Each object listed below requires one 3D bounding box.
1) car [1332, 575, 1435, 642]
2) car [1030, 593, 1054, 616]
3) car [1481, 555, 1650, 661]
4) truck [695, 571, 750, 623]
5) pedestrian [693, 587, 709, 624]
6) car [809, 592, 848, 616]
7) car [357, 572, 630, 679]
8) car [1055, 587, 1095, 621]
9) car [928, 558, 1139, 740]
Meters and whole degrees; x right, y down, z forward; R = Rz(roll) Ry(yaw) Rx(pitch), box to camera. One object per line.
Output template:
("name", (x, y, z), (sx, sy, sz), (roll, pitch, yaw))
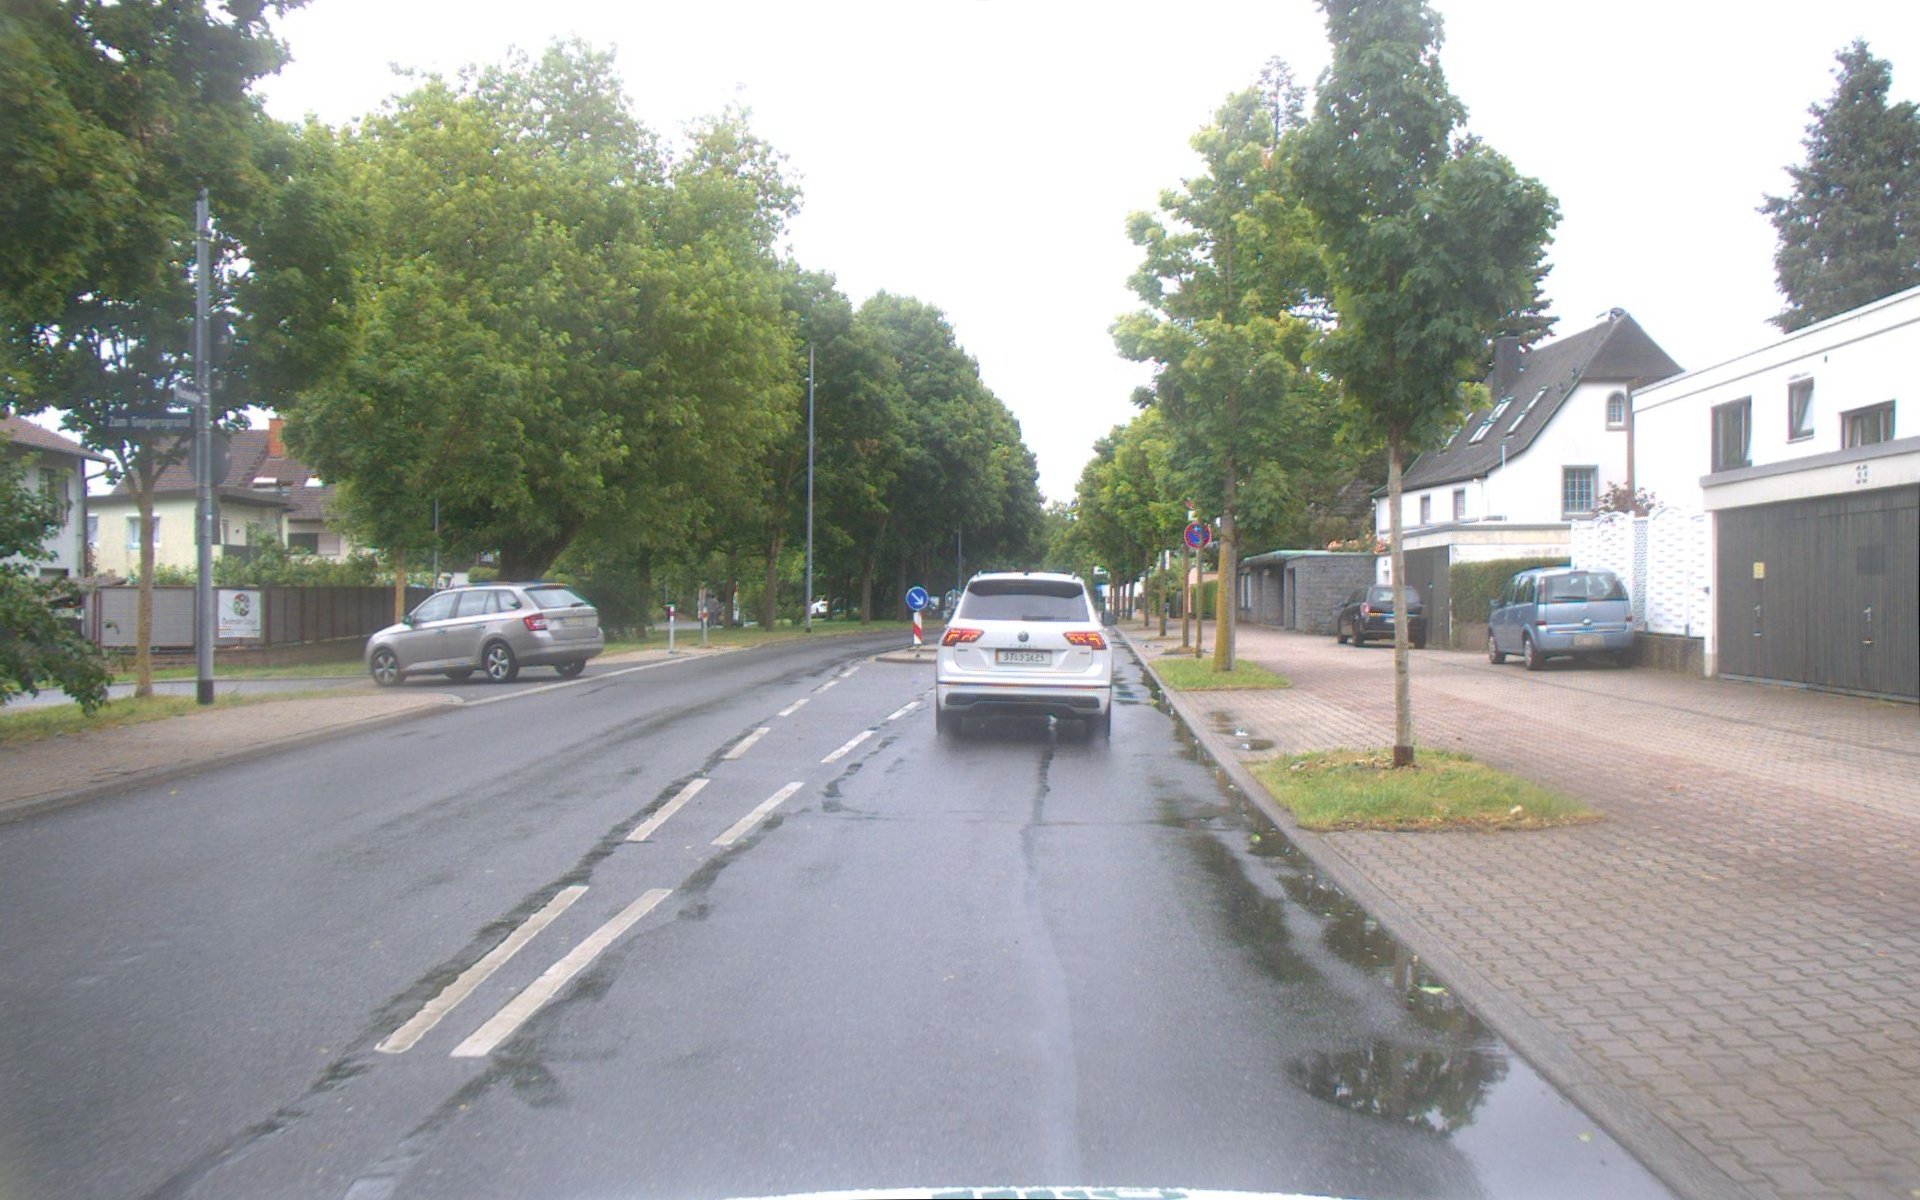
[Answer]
("car", (10.336, 0.181, 40.645), (1.733, 1.524, 4.547), (-1, 0, 6))
("car", (6.292, 0.321, 126.670), (1.776, 1.677, 4.002), (1, 0, 4))
("car", (10.140, 0.112, 27.970), (1.707, 1.639, 4.003), (-1, 0, 6))
("truck", (-12.664, -0.146, 88.463), (2.238, 2.642, 5.872), (-1, 0, -2))
("pedestrian", (-13.330, 0.263, 85.042), (0.694, 1.873, 0.824), (-1, 0, -1))
("car", (-8.502, 0.261, 106.925), (1.811, 1.508, 3.984), (-1, 0, -15))
("car", (-7.241, 0.404, 25.613), (3.912, 1.513, 1.843), (-2, 0, 30))
("car", (5.490, 0.166, 78.981), (1.802, 1.513, 4.002), (2, 0, 4))
("car", (0.781, 0.451, 17.713), (1.955, 1.660, 4.001), (2, 0, 2))
